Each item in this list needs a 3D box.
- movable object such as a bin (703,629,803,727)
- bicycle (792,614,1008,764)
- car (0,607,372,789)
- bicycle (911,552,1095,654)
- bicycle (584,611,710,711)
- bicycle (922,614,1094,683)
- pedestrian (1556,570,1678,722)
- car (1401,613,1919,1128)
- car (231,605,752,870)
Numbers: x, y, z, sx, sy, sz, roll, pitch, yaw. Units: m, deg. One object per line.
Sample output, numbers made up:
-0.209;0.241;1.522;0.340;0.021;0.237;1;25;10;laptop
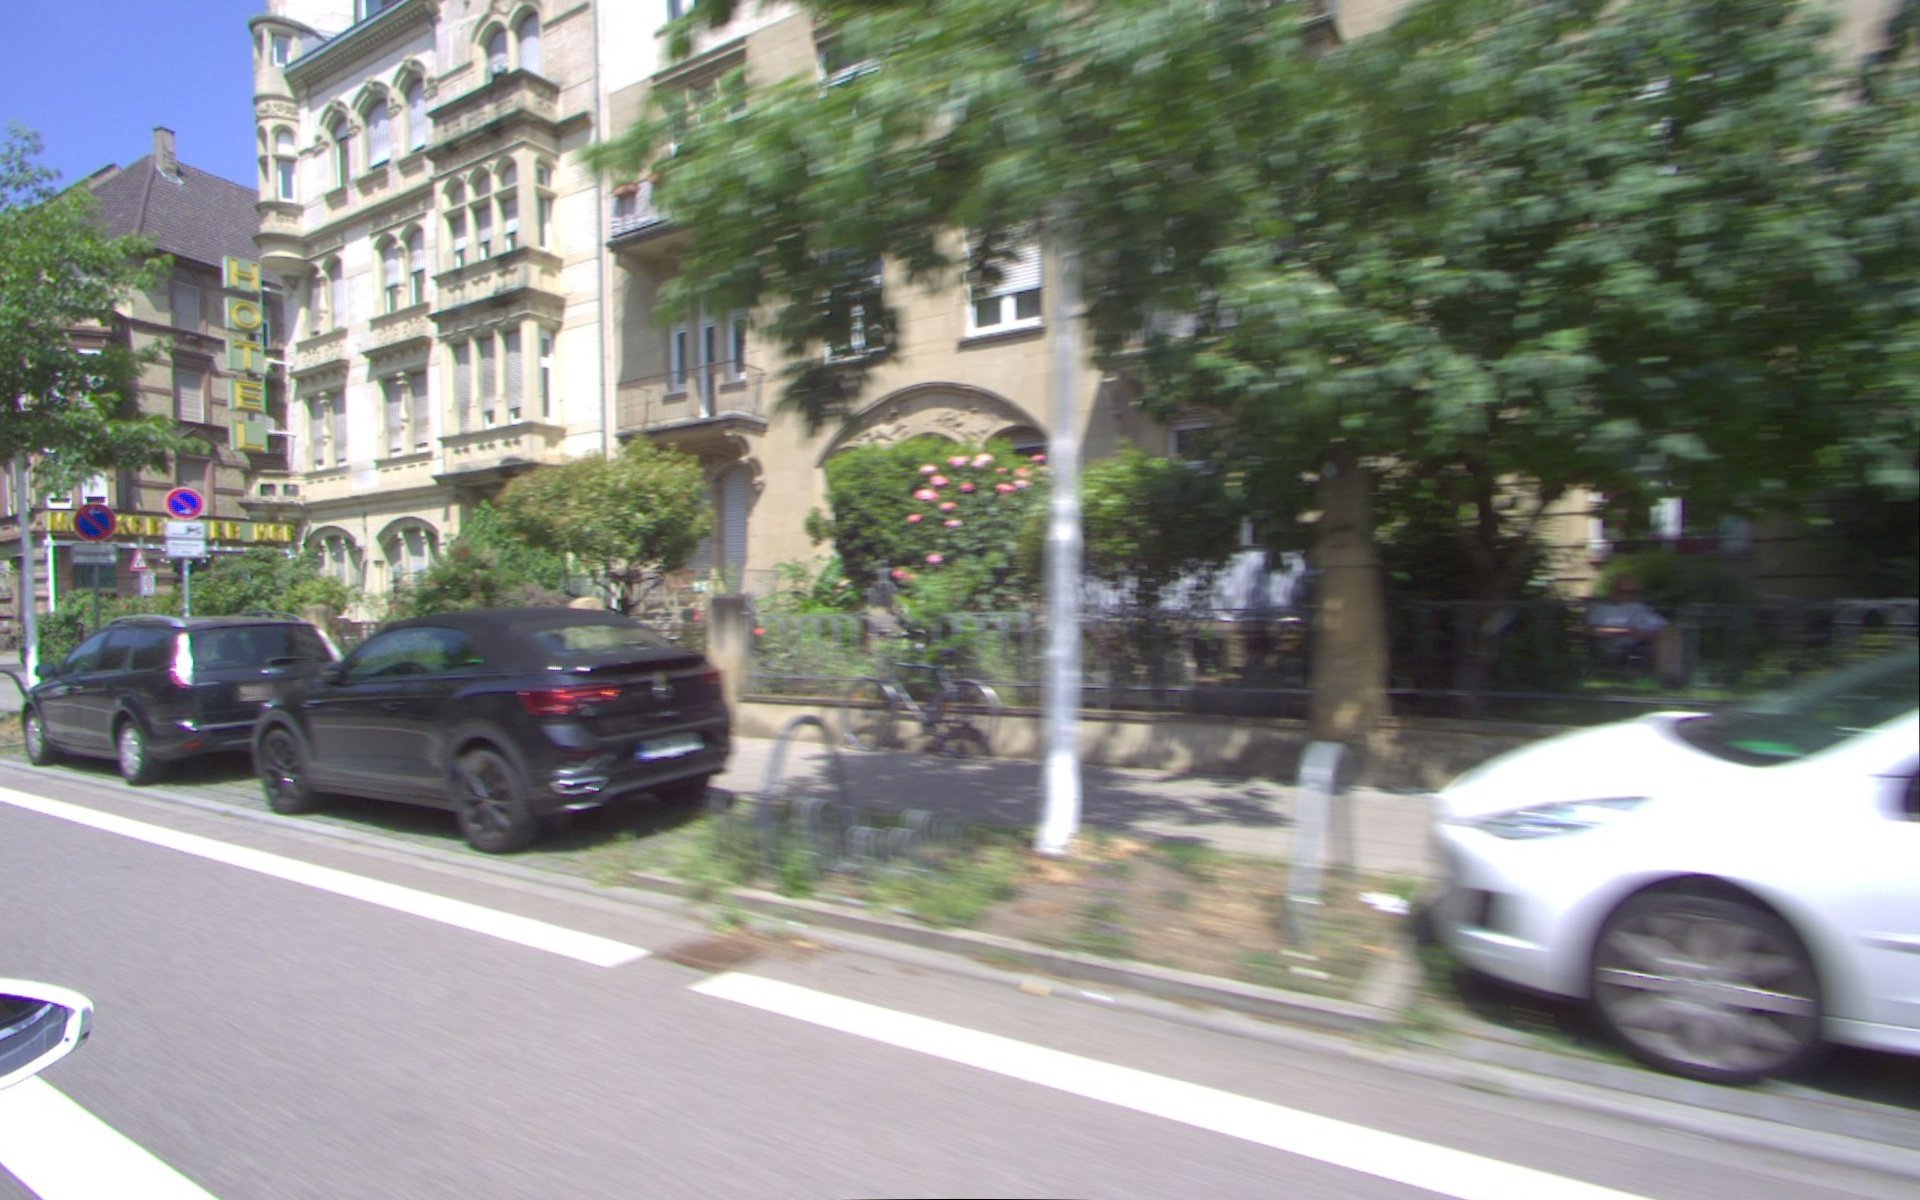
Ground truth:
-2.510;0.922;12.153;0.818;1.084;0.800;-1;3;32;movable object such as a bin
-0.597;0.782;9.390;2.062;1.278;0.591;-1;0;33;bicycle
-8.201;0.881;10.480;4.341;1.556;1.726;-1;-1;32;car
0.561;0.053;14.155;2.651;1.350;0.563;-1;1;31;bicycle
-4.015;0.755;12.989;0.338;1.091;1.684;0;4;32;bicycle
0.706;0.734;15.537;2.719;0.999;0.582;-1;0;32;bicycle
5.090;0.338;7.747;0.751;1.084;0.862;-1;0;36;pedestrian
3.638;0.758;3.136;3.943;1.424;1.607;-1;0;33;car
-3.643;0.836;7.617;3.954;1.551;1.664;-1;0;31;car
